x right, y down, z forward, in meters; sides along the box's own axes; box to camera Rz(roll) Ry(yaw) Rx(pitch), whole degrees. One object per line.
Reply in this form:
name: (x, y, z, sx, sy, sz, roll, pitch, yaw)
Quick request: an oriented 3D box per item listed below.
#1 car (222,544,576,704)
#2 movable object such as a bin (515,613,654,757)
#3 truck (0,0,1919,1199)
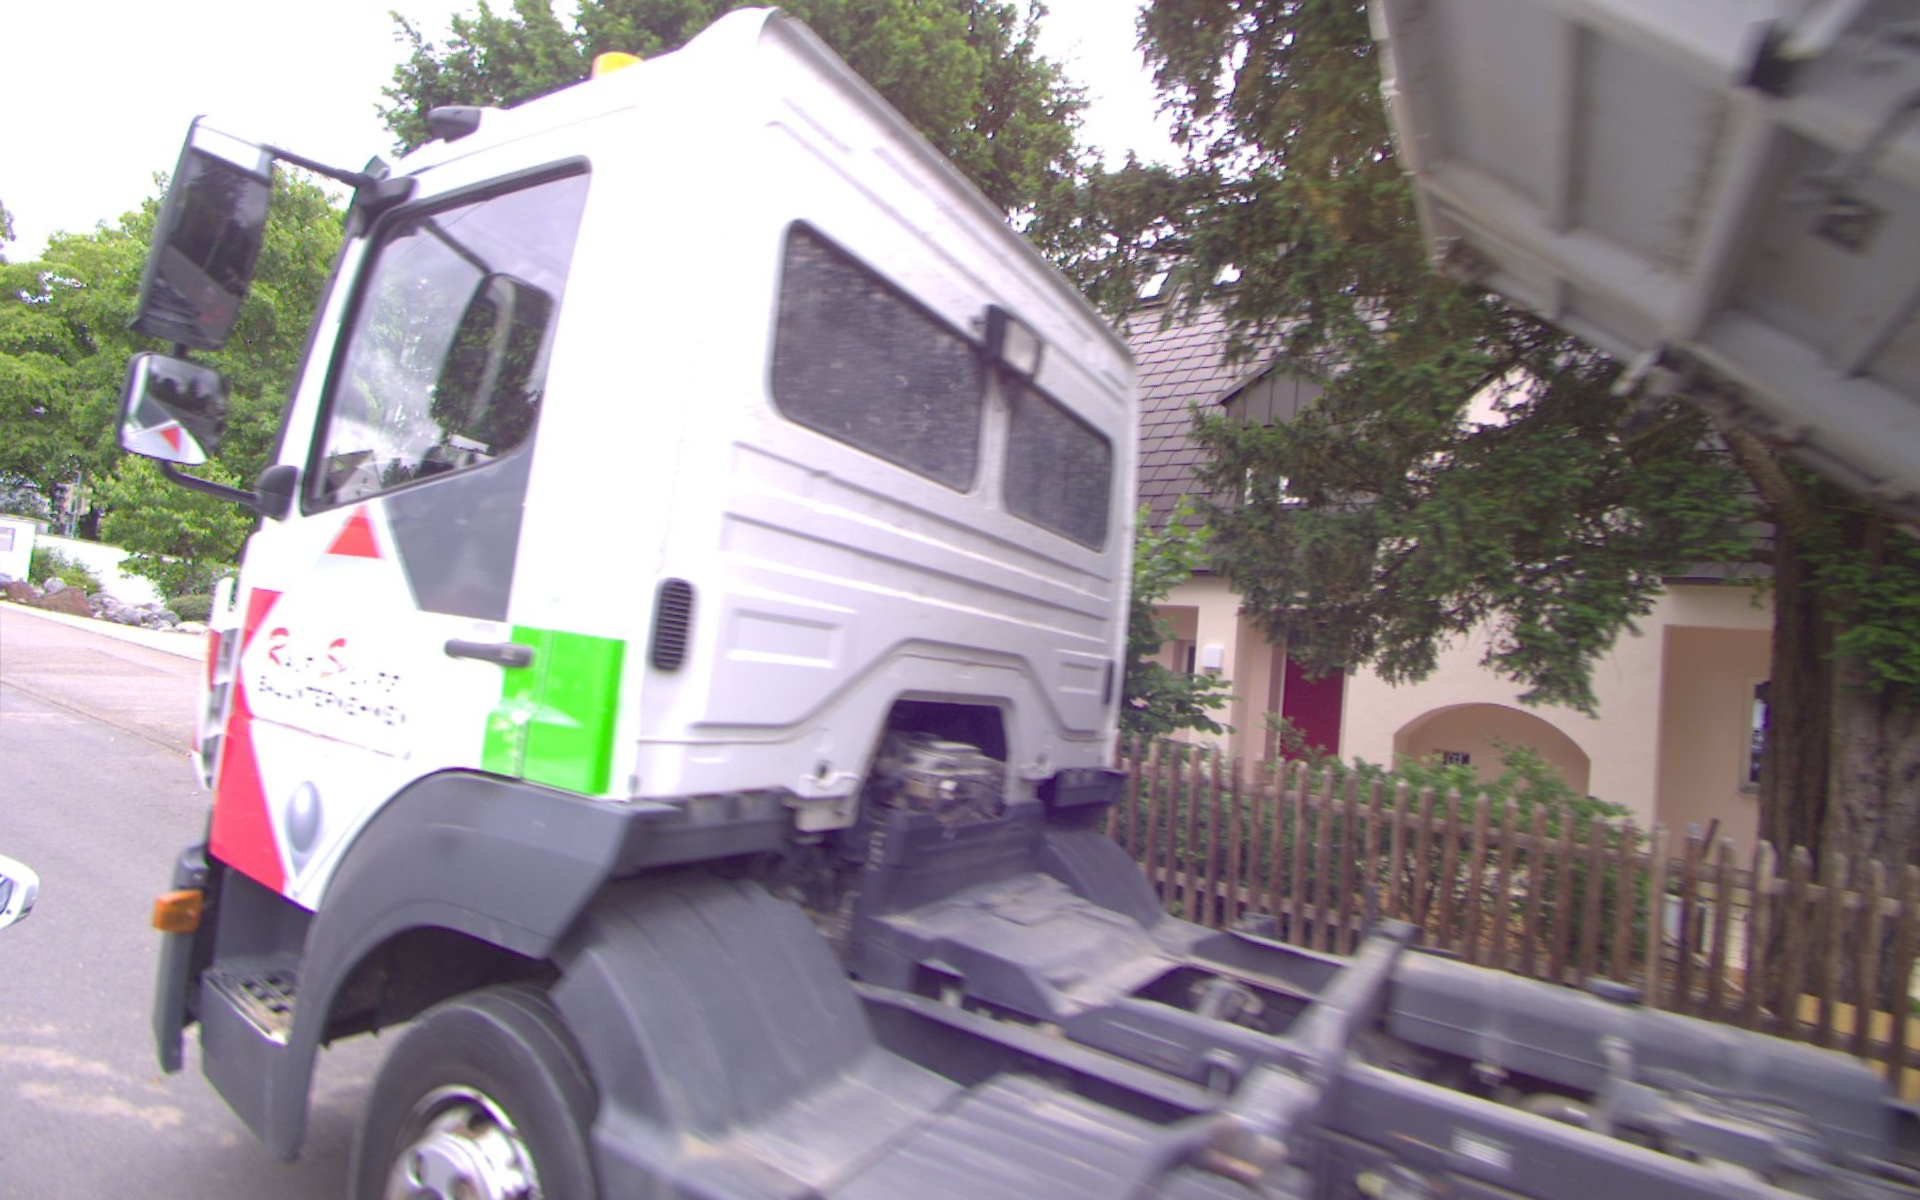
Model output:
car: (-7.936, 0.405, 14.486, 3.986, 1.485, 1.767, 16, -9, -44)
movable object such as a bin: (-3.498, 0.805, 9.417, 0.752, 1.164, 0.694, 6, -9, 22)
truck: (1.659, -0.590, 1.671, 7.068, 4.801, 2.531, 6, -3, 32)
